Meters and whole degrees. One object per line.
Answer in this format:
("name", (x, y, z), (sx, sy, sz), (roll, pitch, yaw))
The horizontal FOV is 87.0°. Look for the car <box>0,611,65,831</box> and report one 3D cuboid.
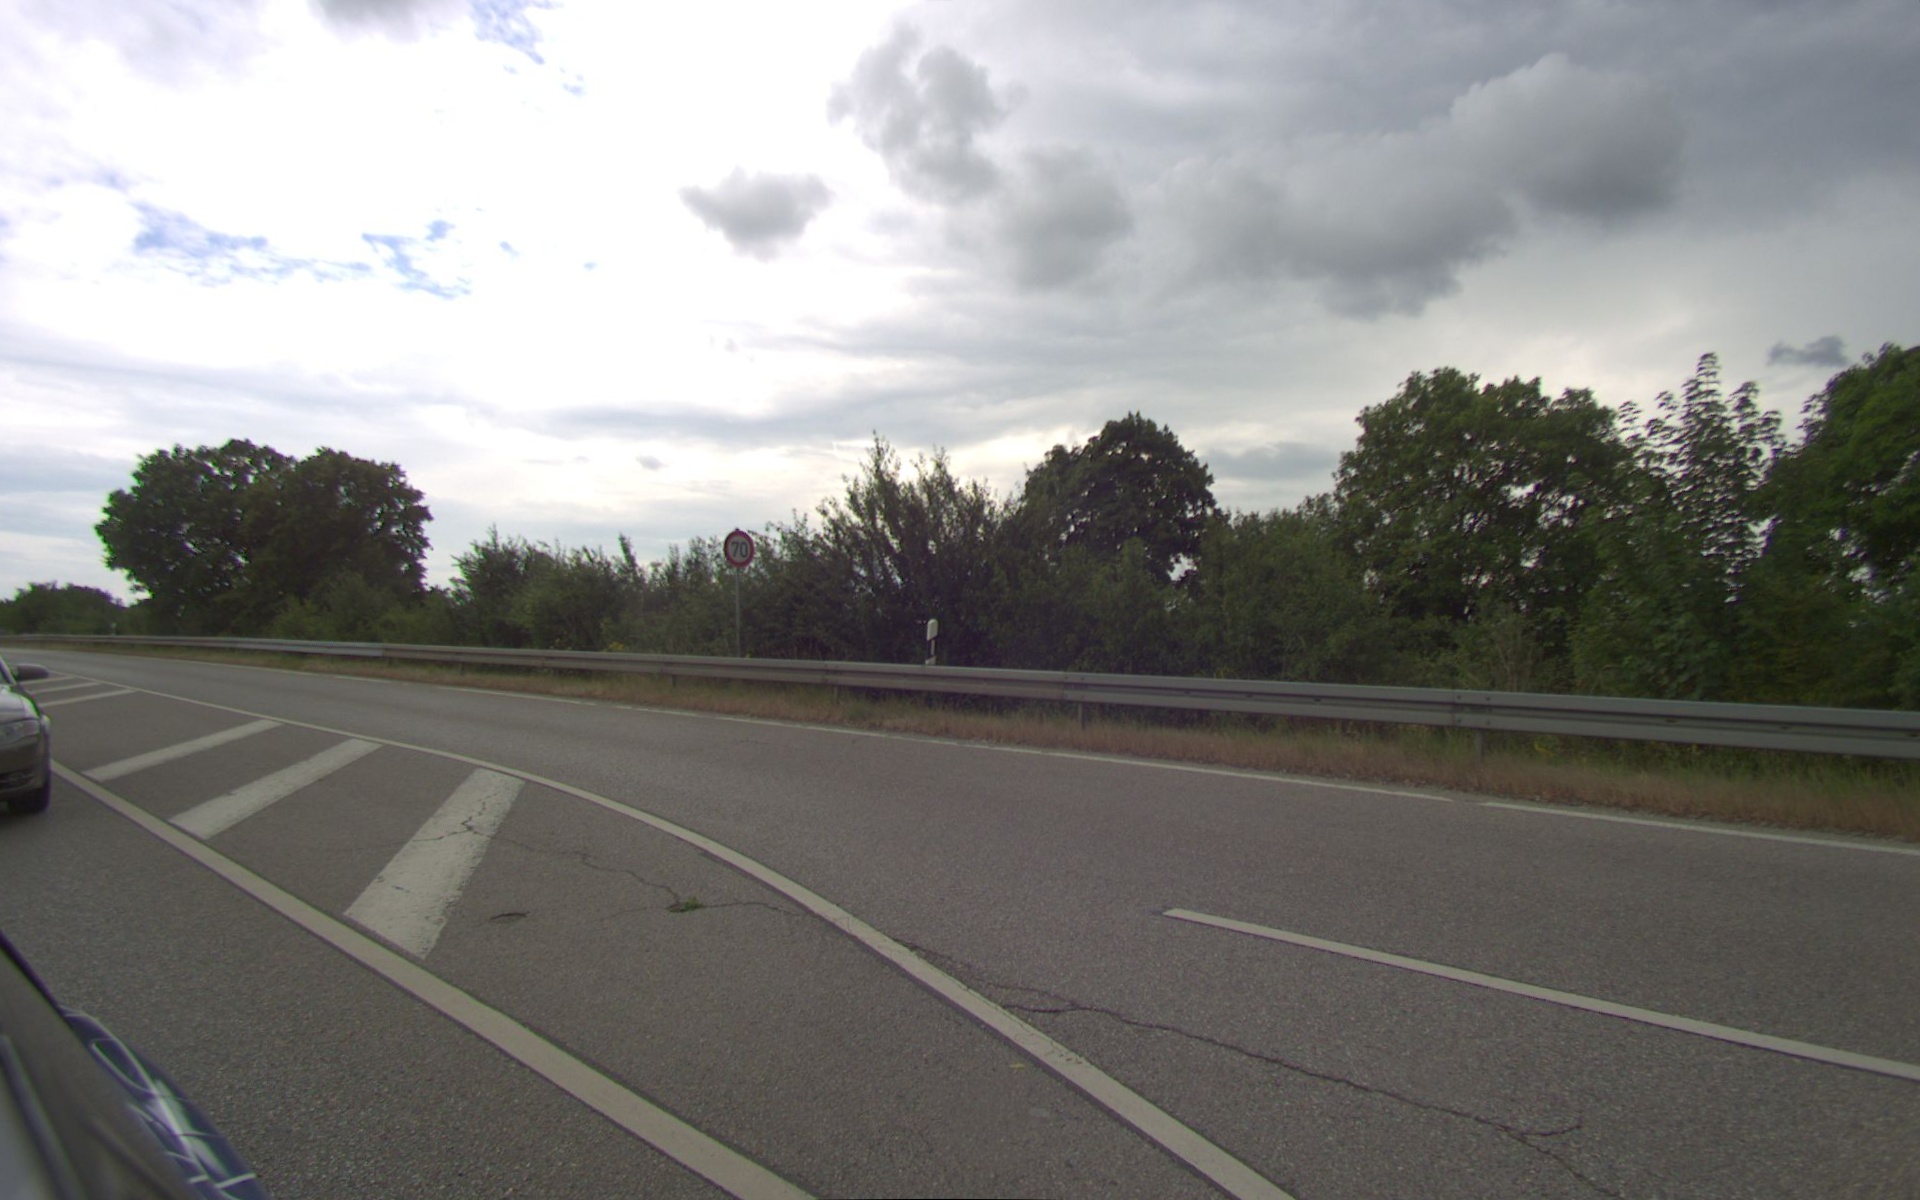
("car", (-8.244, 0.846, 7.626), (4.032, 1.461, 1.761), (-2, -1, 41))
